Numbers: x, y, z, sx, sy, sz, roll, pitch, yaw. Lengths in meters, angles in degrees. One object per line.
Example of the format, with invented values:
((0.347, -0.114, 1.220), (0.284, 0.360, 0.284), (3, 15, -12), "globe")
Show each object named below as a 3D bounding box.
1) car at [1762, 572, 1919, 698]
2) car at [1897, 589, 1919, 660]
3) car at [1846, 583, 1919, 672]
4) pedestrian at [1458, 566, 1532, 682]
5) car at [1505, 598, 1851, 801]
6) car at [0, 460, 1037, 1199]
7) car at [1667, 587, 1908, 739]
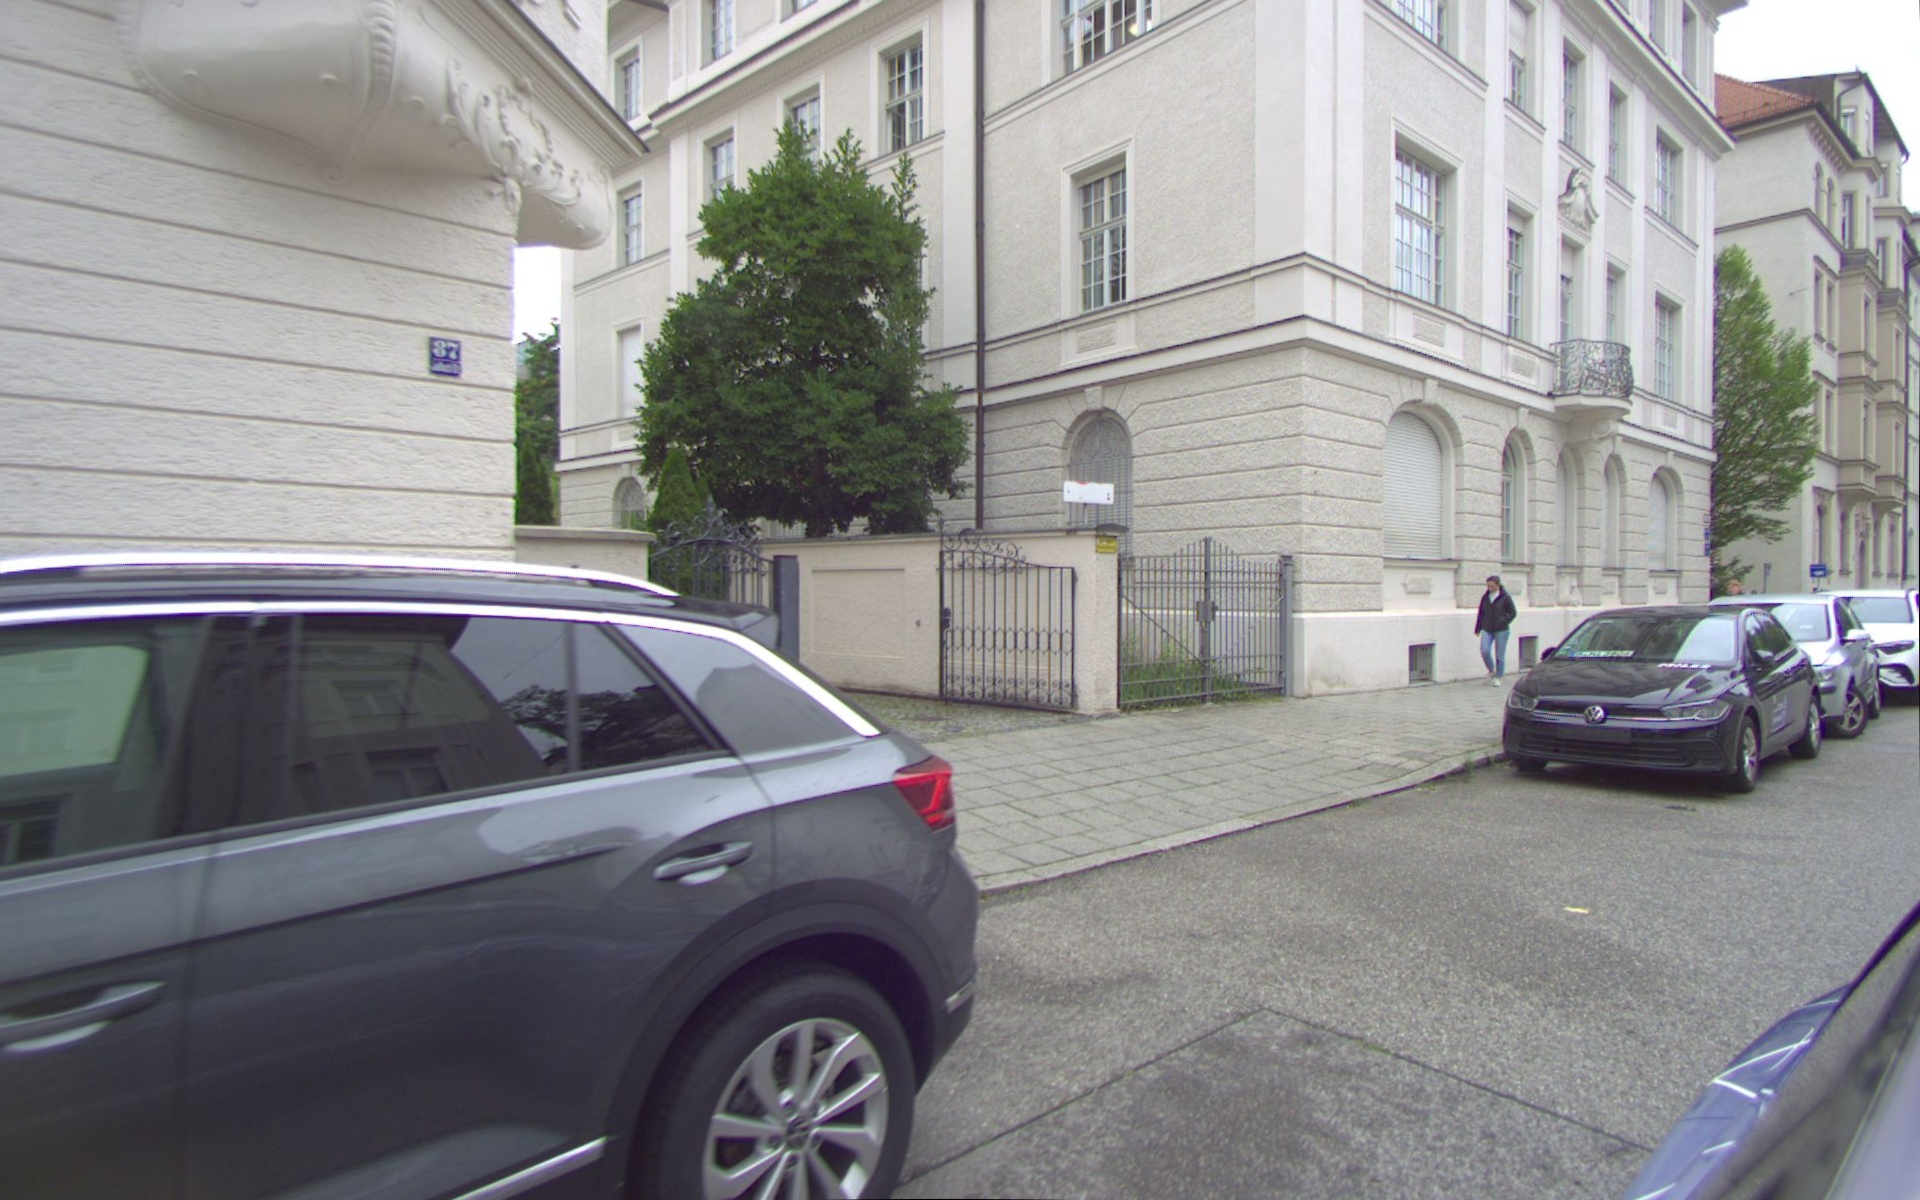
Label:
((13.888, 0.465, 15.270), (4.311, 1.657, 1.900), (1, 0, -39), "car")
((21.809, 0.516, 21.933), (4.149, 1.470, 1.714), (0, 0, -40), "car")
((18.111, 0.456, 18.895), (4.096, 1.544, 1.752), (0, 1, -40), "car")
((8.160, 0.350, 15.439), (0.798, 1.699, 0.684), (0, 2, -40), "pedestrian")
((6.560, 0.709, 9.090), (3.930, 1.413, 1.615), (0, 0, -41), "car")
((-1.841, 0.632, 1.897), (3.931, 1.608, 1.710), (0, -1, -41), "car")
((10.072, 0.618, 12.219), (3.932, 1.520, 1.710), (-1, 1, -43), "car")
